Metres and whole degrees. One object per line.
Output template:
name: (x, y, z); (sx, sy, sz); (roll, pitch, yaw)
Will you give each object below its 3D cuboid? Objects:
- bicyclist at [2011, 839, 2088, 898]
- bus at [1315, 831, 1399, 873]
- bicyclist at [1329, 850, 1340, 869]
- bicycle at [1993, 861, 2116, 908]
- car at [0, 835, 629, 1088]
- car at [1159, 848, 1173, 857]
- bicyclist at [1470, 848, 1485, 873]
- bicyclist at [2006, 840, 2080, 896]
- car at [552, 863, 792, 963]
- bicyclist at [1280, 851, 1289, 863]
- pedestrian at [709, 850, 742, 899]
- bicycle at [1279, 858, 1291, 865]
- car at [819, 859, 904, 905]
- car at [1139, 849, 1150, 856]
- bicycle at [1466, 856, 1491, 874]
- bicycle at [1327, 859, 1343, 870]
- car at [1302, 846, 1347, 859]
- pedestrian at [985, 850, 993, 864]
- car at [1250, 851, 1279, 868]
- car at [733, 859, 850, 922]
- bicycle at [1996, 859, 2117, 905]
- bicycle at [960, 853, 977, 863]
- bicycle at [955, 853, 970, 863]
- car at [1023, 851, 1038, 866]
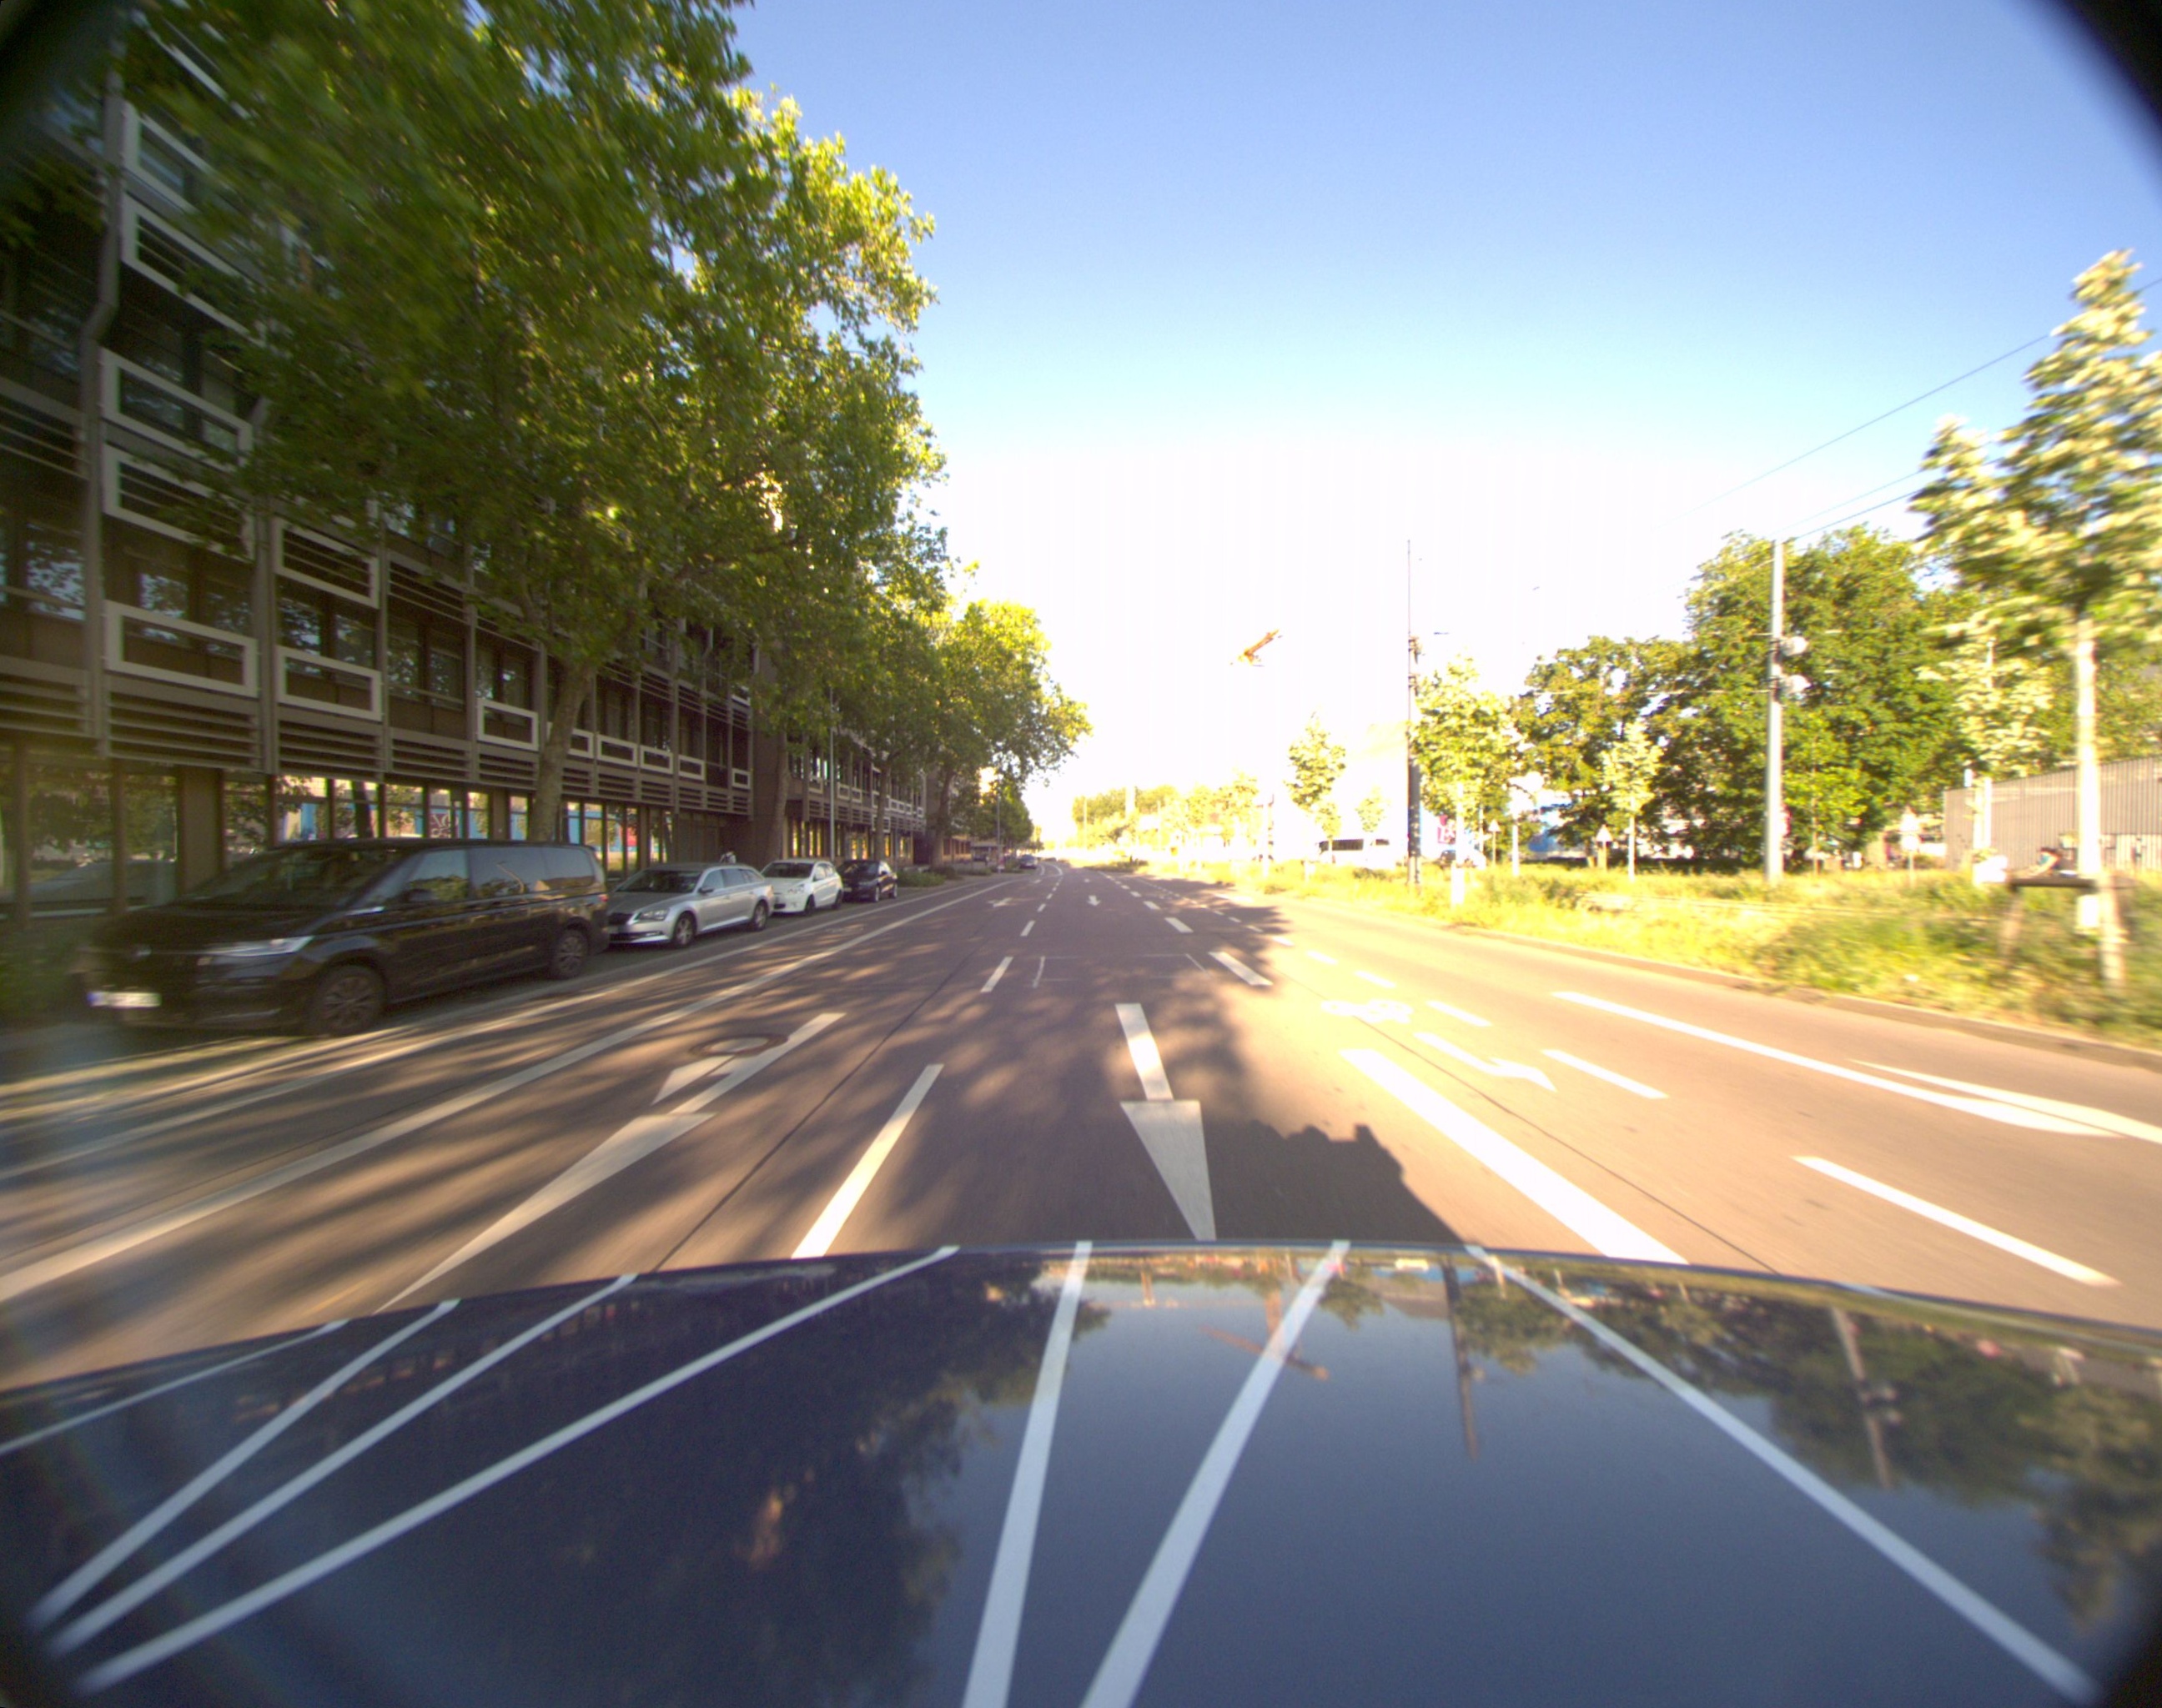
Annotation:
bicyclist: (24.602, 0.356, 19.316); (0.585, 1.434, 1.075); (-1, 1, 0)
bus: (25.711, -0.221, 71.632); (2.807, 3.574, 12.694); (-1, 0, -2)
bicyclist: (23.329, 0.481, 70.038); (0.689, 1.698, 0.954); (0, 1, -1)
bicycle: (24.611, 0.740, 19.270); (0.585, 1.098, 1.987); (-1, 0, 0)
car: (-7.699, 0.847, 8.708); (1.834, 1.959, 5.321); (2, 0, 0)
car: (15.960, -0.207, 142.729); (1.999, 1.633, 4.166); (-1, 0, -3)
bicyclist: (24.275, 0.373, 46.492); (0.558, 1.498, 0.668); (0, 1, 0)
bicyclist: (25.308, 0.364, 20.010); (0.585, 1.434, 1.075); (-1, 1, 0)
car: (-7.633, 0.984, 14.906); (1.685, 1.505, 5.060); (2, 0, 4)
bicyclist: (22.472, 0.300, 83.814); (0.689, 1.338, 0.871); (0, 1, -2)
pedestrian: (-13.543, 0.767, 28.989); (0.833, 1.845, 0.847); (-1, 1, -1)
bicycle: (22.483, 0.845, 83.731); (0.689, 0.799, 2.144); (0, 0, -2)
car: (-7.559, 0.913, 26.597); (1.711, 1.410, 4.276); (2, 0, 0)
car: (14.805, -0.357, 178.495); (1.999, 1.641, 4.269); (-1, 0, -4)
bicycle: (24.281, 0.665, 46.431); (0.560, 1.054, 1.898); (0, 0, 0)
bicycle: (23.335, 0.928, 69.916); (0.689, 0.997, 2.361); (0, 0, -1)
car: (32.660, -0.184, 101.969); (5.241, 1.707, 2.124); (0, 1, -4)
pedestrian: (-10.805, 0.370, 89.135); (0.791, 1.639, 1.136); (0, 1, -2)
car: (19.647, 0.532, 81.451); (1.875, 1.755, 4.812); (0, 0, -2)
car: (-7.747, 0.924, 20.734); (1.686, 1.469, 3.874); (2, 0, 0)
bicycle: (25.320, 0.699, 19.779); (0.585, 1.098, 1.987); (-1, 0, 0)
bicycle: (-13.199, 0.457, 89.092); (1.906, 1.086, 0.392); (1, 1, -8)
bicycle: (-13.502, 0.484, 86.733); (1.631, 1.076, 0.392); (1, 1, -1)
car: (-5.831, 0.473, 88.085); (1.733, 1.678, 4.512); (1, 0, -4)
